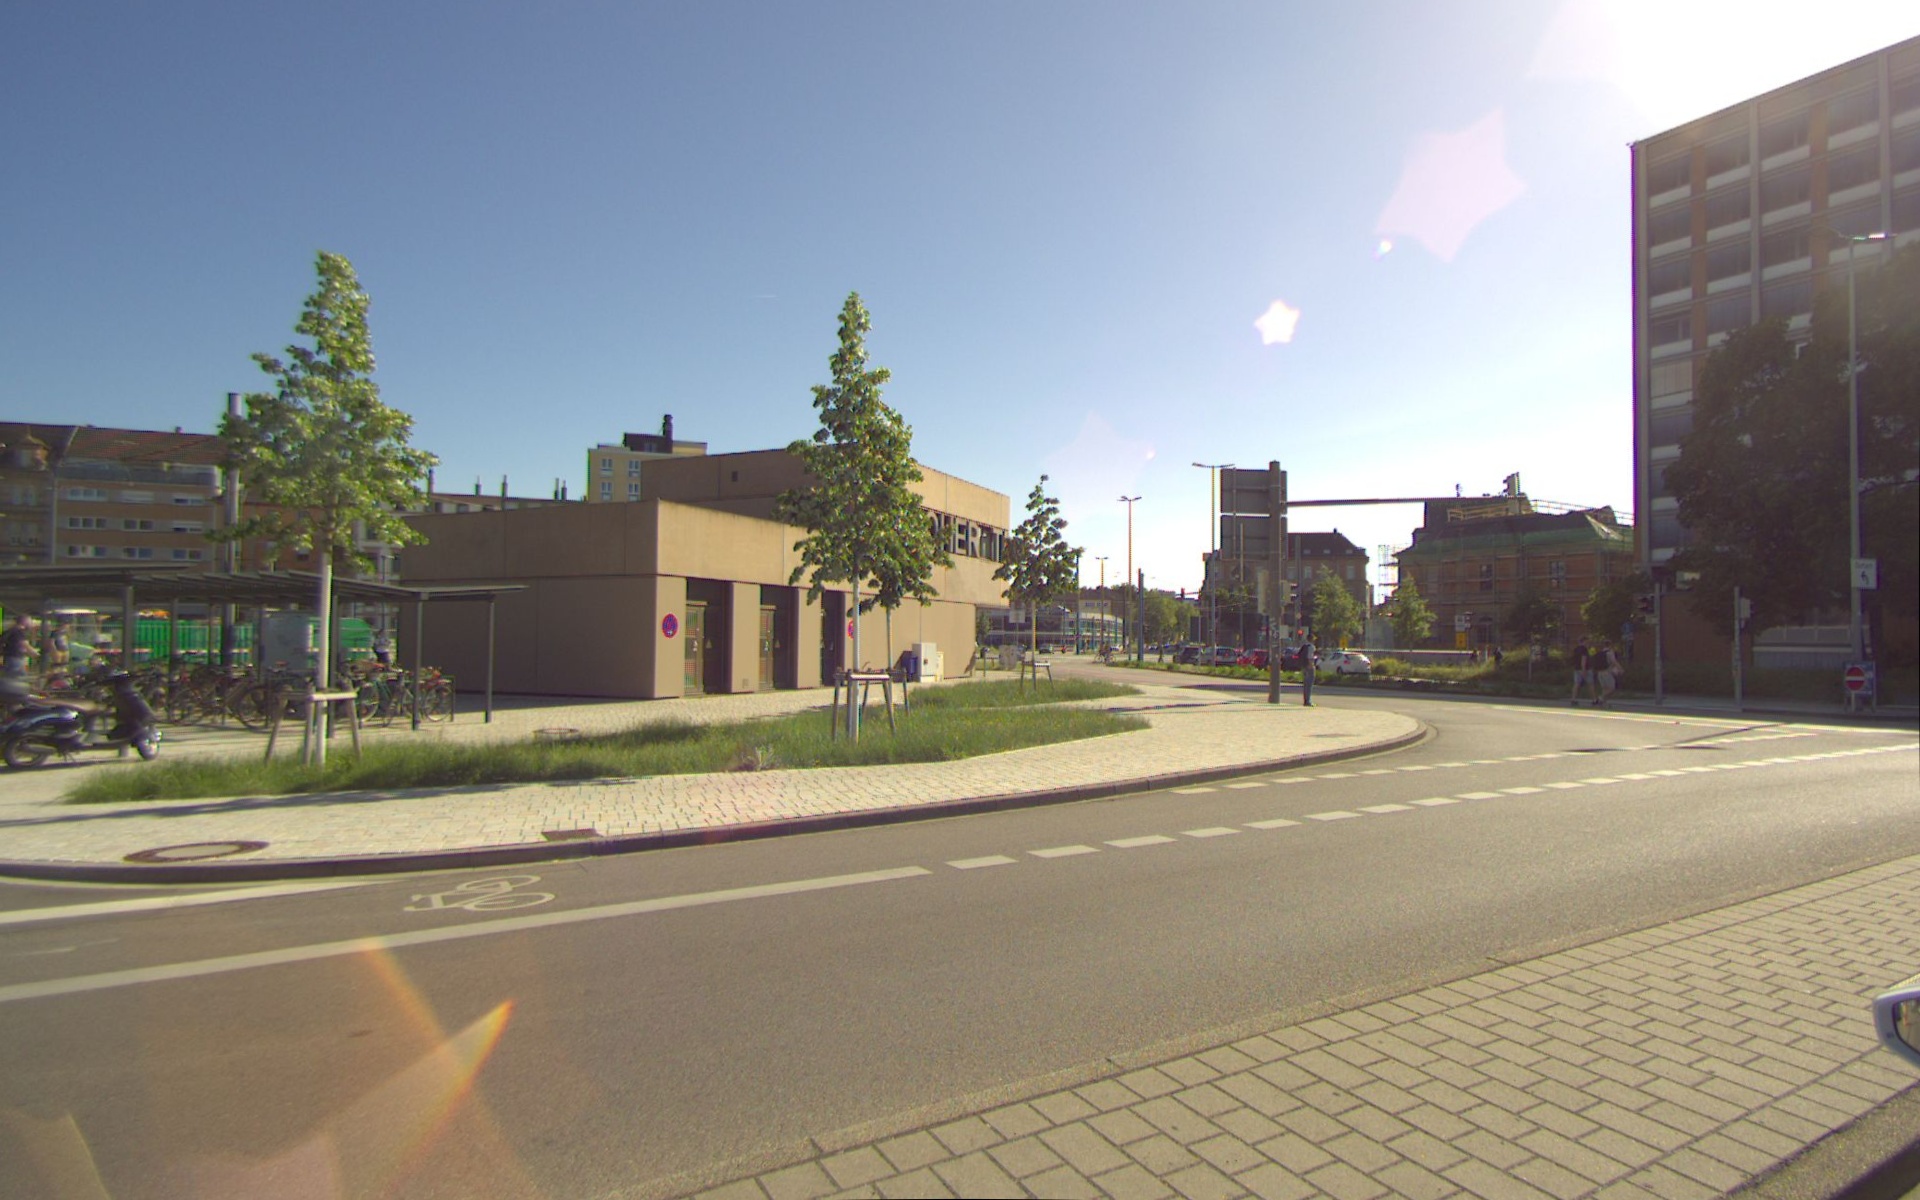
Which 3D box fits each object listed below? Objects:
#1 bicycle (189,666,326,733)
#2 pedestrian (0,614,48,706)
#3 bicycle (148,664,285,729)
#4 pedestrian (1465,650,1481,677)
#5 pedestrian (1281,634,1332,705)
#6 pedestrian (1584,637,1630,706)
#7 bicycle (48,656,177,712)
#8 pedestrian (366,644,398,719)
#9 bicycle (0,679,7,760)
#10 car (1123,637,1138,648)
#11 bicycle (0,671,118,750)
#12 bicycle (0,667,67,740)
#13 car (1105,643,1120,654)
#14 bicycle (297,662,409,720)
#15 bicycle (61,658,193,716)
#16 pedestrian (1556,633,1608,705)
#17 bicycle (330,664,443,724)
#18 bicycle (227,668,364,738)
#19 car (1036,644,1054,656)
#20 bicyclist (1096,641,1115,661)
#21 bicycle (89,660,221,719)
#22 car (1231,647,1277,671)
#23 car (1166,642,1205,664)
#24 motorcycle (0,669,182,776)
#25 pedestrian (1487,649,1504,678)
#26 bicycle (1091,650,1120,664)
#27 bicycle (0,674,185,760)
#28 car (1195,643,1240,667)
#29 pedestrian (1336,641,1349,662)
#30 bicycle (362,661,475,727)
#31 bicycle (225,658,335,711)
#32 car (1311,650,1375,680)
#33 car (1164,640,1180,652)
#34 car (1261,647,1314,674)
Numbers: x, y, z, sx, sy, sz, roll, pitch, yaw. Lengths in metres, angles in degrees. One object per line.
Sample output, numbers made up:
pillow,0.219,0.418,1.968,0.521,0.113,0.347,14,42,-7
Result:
bicycle,-11.882,1.651,17.060,0.449,1.022,1.902,0,-2,26
pedestrian,-19.497,1.233,20.819,0.555,1.858,0.683,0,-2,27
bicycle,-12.892,1.647,17.491,0.449,1.022,1.902,0,-2,26
pedestrian,34.345,4.237,67.221,0.752,1.753,0.677,2,-2,-32
pedestrian,8.690,1.736,25.217,1.044,1.753,0.652,1,-2,-16
pedestrian,16.878,1.855,26.209,0.748,1.753,0.680,1,-2,-16
bicycle,-16.693,1.638,19.840,0.449,1.022,1.902,0,-2,26
pedestrian,-15.916,2.230,27.661,0.710,2.040,0.682,1,-3,-30
bicycle,-12.739,1.484,12.005,0.449,1.022,1.902,0,-2,26
car,34.291,8.520,202.197,1.961,2.040,3.998,2,0,23
bicycle,-13.022,1.535,14.016,0.449,1.022,1.902,0,-2,26
bicycle,-14.152,1.507,14.447,0.449,1.022,1.902,0,-2,26
car,27.938,8.865,183.618,1.961,2.040,4.000,0,-2,20
bicycle,-11.790,1.742,19.578,0.449,1.022,1.902,0,-2,26
bicycle,-15.910,1.643,19.241,0.449,1.022,1.902,0,-2,26
pedestrian,16.700,1.837,26.984,0.895,1.887,0.813,1,-2,-16
bicycle,-10.700,1.733,18.820,0.449,1.022,1.902,0,-2,26
bicycle,-10.904,1.661,16.571,0.449,1.022,1.902,0,-2,26
car,11.787,6.888,138.590,1.709,1.672,4.002,0,-2,17
bicyclist,12.255,4.304,84.811,1.544,1.655,0.811,2,0,6
bicycle,-15.074,1.655,18.866,0.449,1.022,1.902,0,-2,26
car,20.220,4.030,69.249,1.760,1.528,3.880,1,-2,-6
car,16.792,3.928,74.996,1.760,1.528,3.880,1,-2,-6
motorcycle,-10.913,1.474,12.471,0.508,1.166,1.947,0,-2,25
pedestrian,32.953,3.888,61.811,0.754,1.753,0.675,2,-2,-39
bicycle,12.249,4.836,84.819,2.370,1.076,0.811,2,0,7
bicycle,-11.808,1.555,13.725,0.449,1.022,1.902,0,-2,26
car,17.472,3.692,68.270,1.760,1.528,3.880,1,-2,-6
pedestrian,31.970,4.303,83.879,0.674,1.753,0.755,1,-2,-29
bicycle,-9.920,1.696,18.491,0.449,1.112,1.902,0,-2,26
bicycle,-14.066,1.727,20.830,0.449,1.022,1.902,0,-2,26
car,21.262,3.592,55.932,1.760,1.528,3.880,1,-2,-6
car,39.968,8.662,189.477,1.760,2.040,3.993,0,-2,29
car,20.425,3.764,62.788,1.760,1.528,3.880,1,-2,-6
